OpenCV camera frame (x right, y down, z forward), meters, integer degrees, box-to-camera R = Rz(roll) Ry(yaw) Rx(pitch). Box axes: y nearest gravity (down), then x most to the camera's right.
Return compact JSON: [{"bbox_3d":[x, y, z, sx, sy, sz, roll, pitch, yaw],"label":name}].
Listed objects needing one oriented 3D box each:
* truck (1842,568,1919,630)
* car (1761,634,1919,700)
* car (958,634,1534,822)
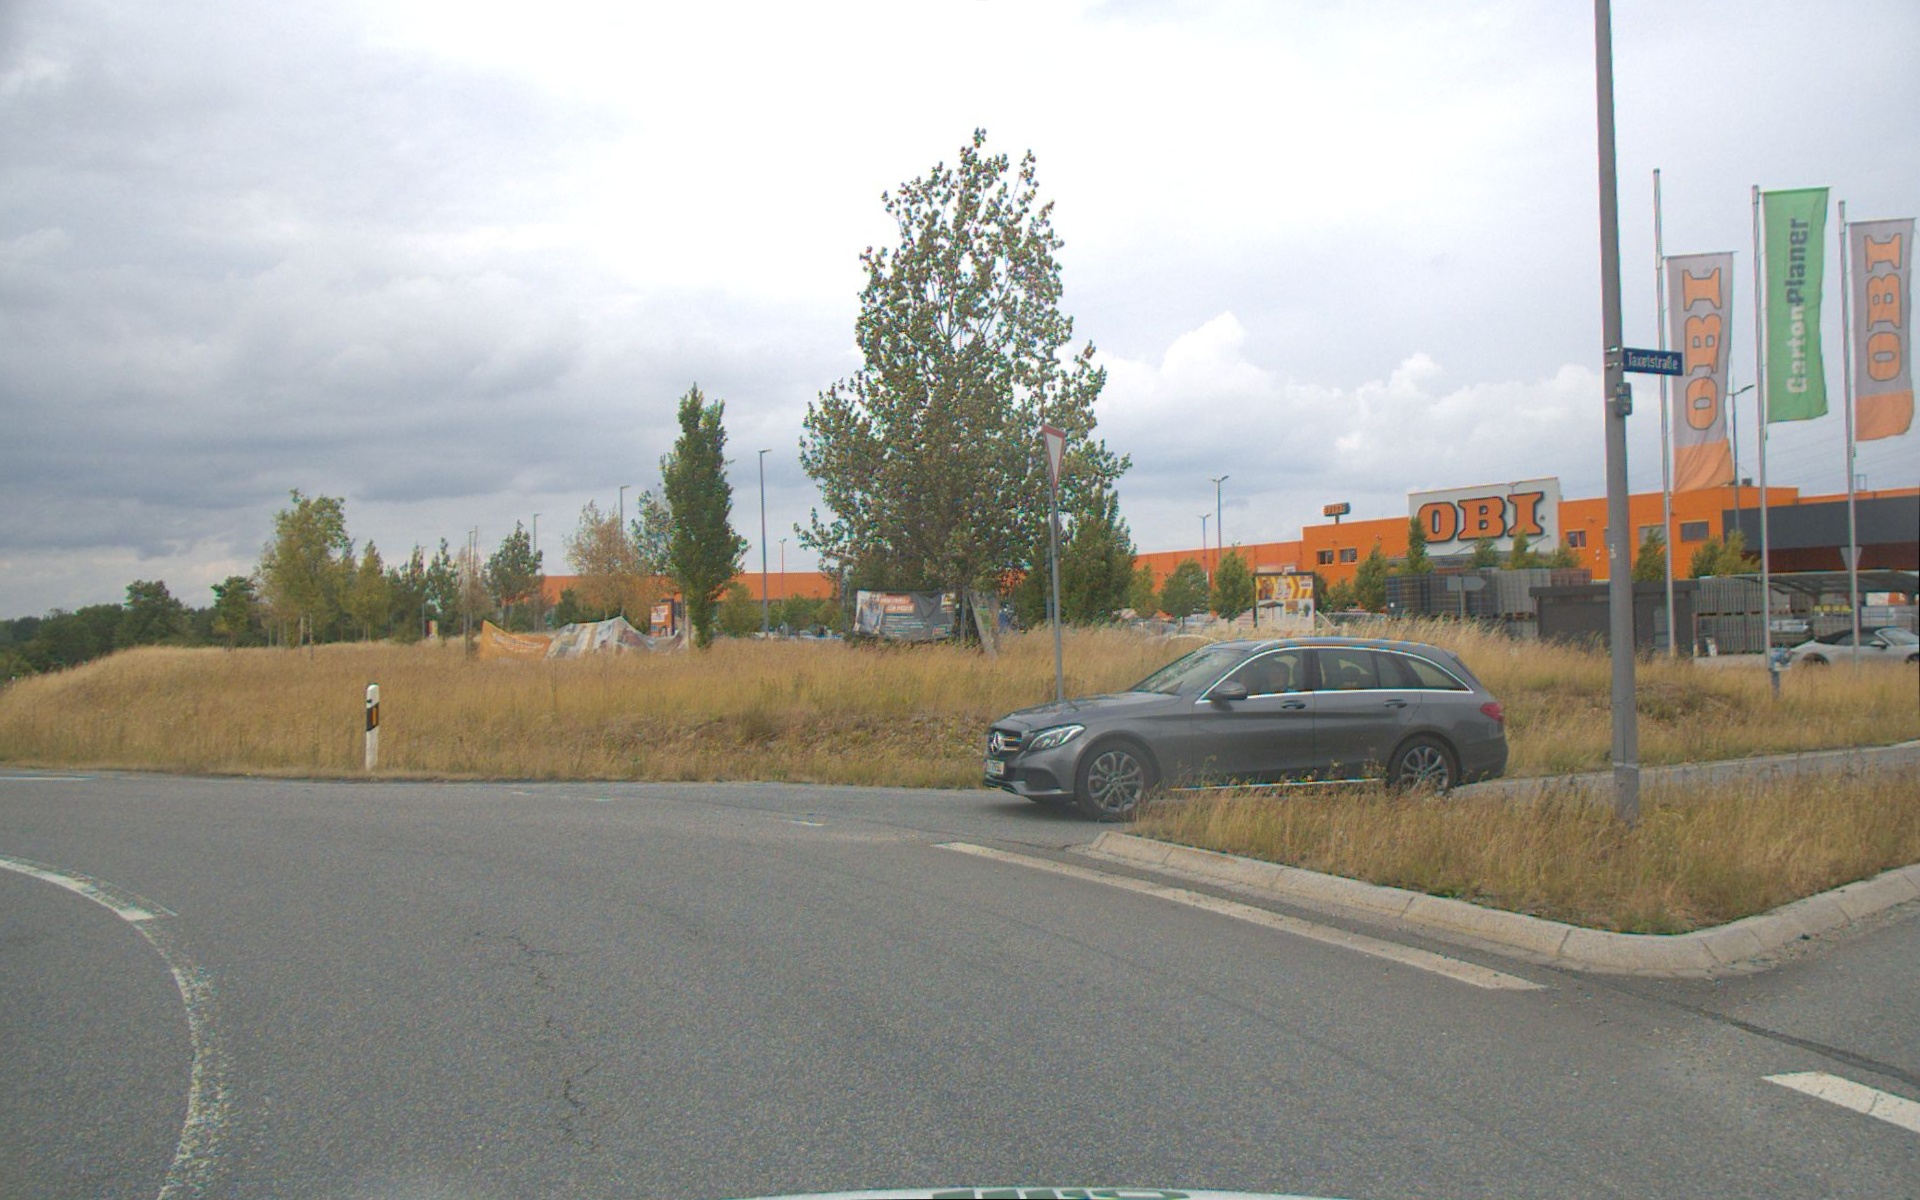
[{"bbox_3d":[41.980,-0.045,72.371,2.410,2.528,5.487,1,-3,-33],"label":"truck"},{"bbox_3d":[21.197,1.509,38.199,1.721,1.428,4.707,1,-1,-31],"label":"car"},{"bbox_3d":[2.454,1.025,14.365,4.600,1.428,1.918,1,-1,-18],"label":"car"}]
